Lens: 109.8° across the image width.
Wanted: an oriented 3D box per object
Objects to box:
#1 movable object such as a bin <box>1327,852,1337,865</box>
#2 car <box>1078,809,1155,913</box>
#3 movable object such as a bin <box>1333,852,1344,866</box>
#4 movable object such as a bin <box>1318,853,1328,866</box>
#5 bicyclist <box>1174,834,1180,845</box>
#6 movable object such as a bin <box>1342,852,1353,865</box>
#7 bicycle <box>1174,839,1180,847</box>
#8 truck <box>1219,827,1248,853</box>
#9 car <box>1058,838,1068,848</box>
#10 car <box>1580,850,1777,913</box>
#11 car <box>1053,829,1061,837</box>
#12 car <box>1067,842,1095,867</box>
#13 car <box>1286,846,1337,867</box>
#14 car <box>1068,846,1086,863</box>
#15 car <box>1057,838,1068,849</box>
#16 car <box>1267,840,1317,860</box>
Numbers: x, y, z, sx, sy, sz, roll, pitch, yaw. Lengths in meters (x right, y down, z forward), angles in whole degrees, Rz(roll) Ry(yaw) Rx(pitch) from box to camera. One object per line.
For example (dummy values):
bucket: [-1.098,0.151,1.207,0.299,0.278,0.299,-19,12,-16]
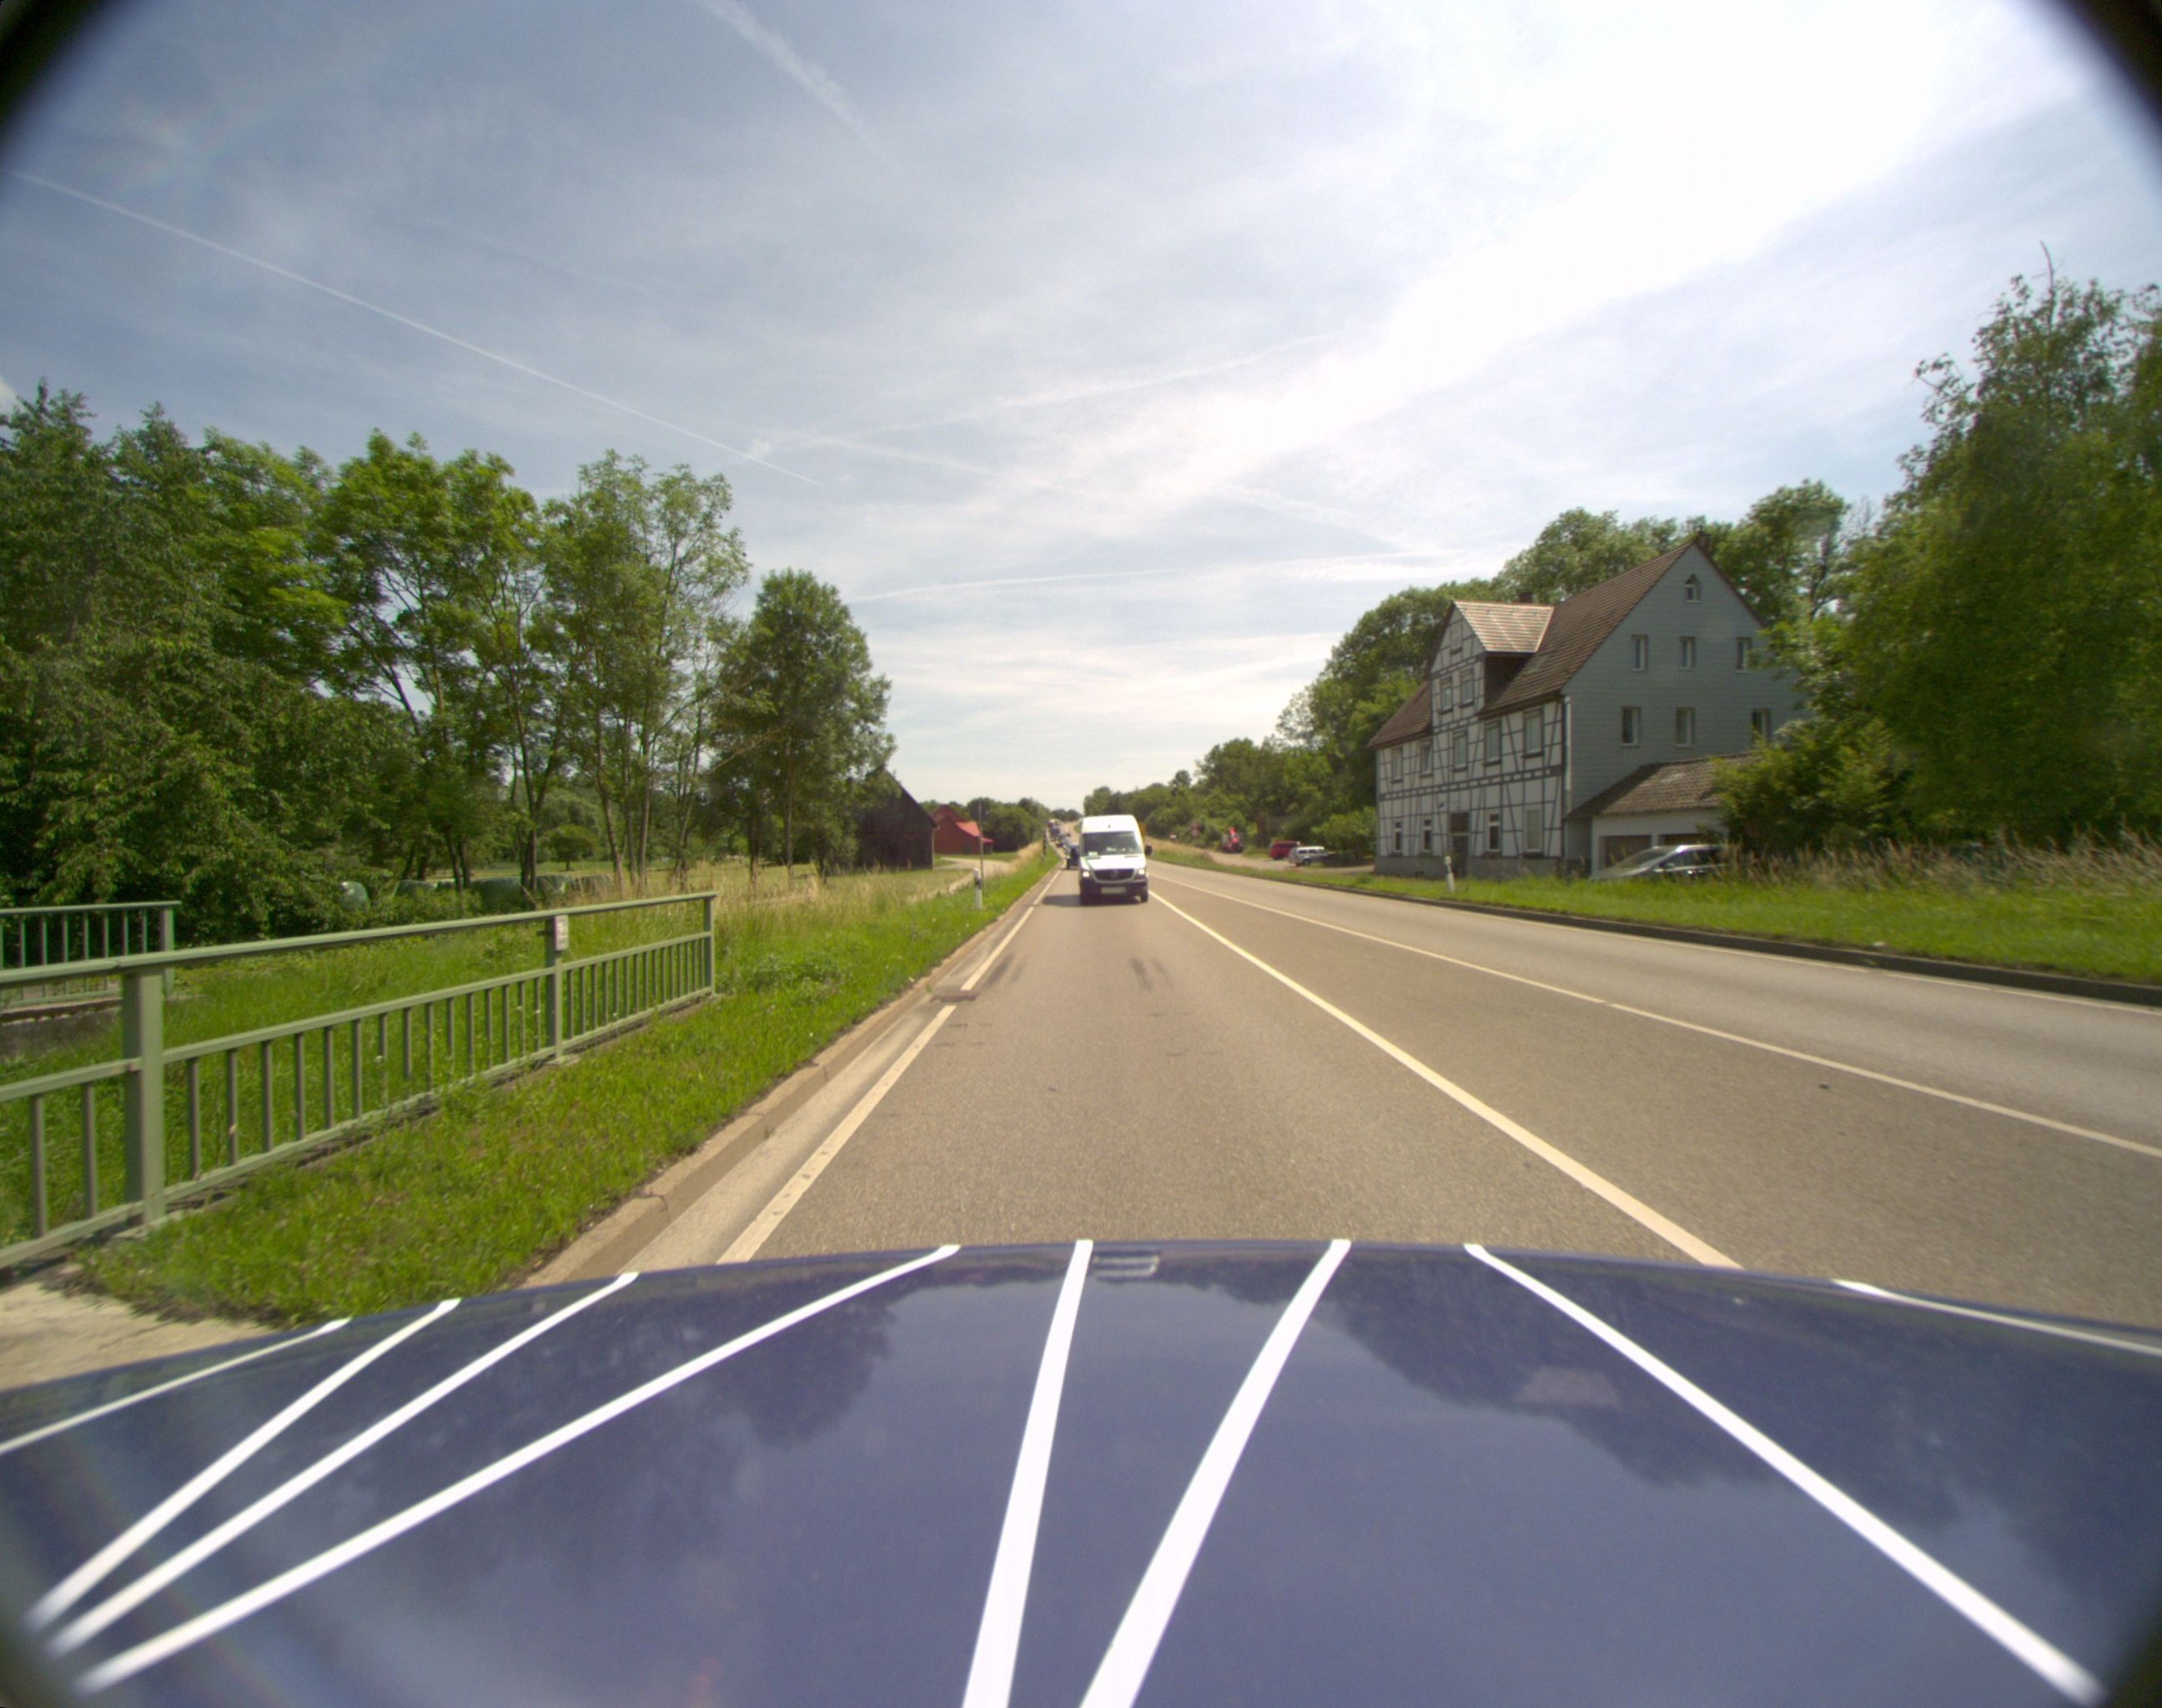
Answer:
movable object such as a bin: [18.544,0.336,56.106,0.505,0.964,0.654,-2,3,-8]
car: [0.903,0.131,22.633,1.961,2.656,5.679,-1,1,0]
movable object such as a bin: [19.066,0.365,56.270,0.505,0.966,0.654,-2,3,-8]
movable object such as a bin: [17.895,0.401,56.159,0.505,0.931,0.654,-2,3,-8]
bicyclist: [14.962,-2.329,118.520,0.750,1.705,0.936,-2,2,2]
movable object such as a bin: [19.742,0.336,56.237,0.505,0.971,0.654,-2,3,-8]
bicycle: [14.992,-1.671,118.475,0.750,1.174,2.104,-2,2,2]
truck: [17.891,-1.684,89.468,2.031,2.947,6.771,-2,2,1]
car: [-3.382,-2.052,143.899,1.849,1.693,4.240,-1,2,-2]
car: [18.287,0.824,23.374,4.677,1.710,1.861,-2,-1,-4]
car: [-6.755,-5.873,215.300,1.998,2.166,3.999,-2,1,0]
car: [0.001,0.047,53.185,1.848,1.692,4.242,0,0,0]
car: [17.814,0.205,58.711,3.387,1.457,1.609,-2,2,-6]
car: [-0.487,0.013,84.408,1.848,1.693,4.240,-1,2,-1]
car: [-3.161,-1.719,127.498,1.849,1.693,4.240,-1,2,-2]
car: [19.050,-0.351,68.683,4.037,1.609,1.832,-2,2,1]
